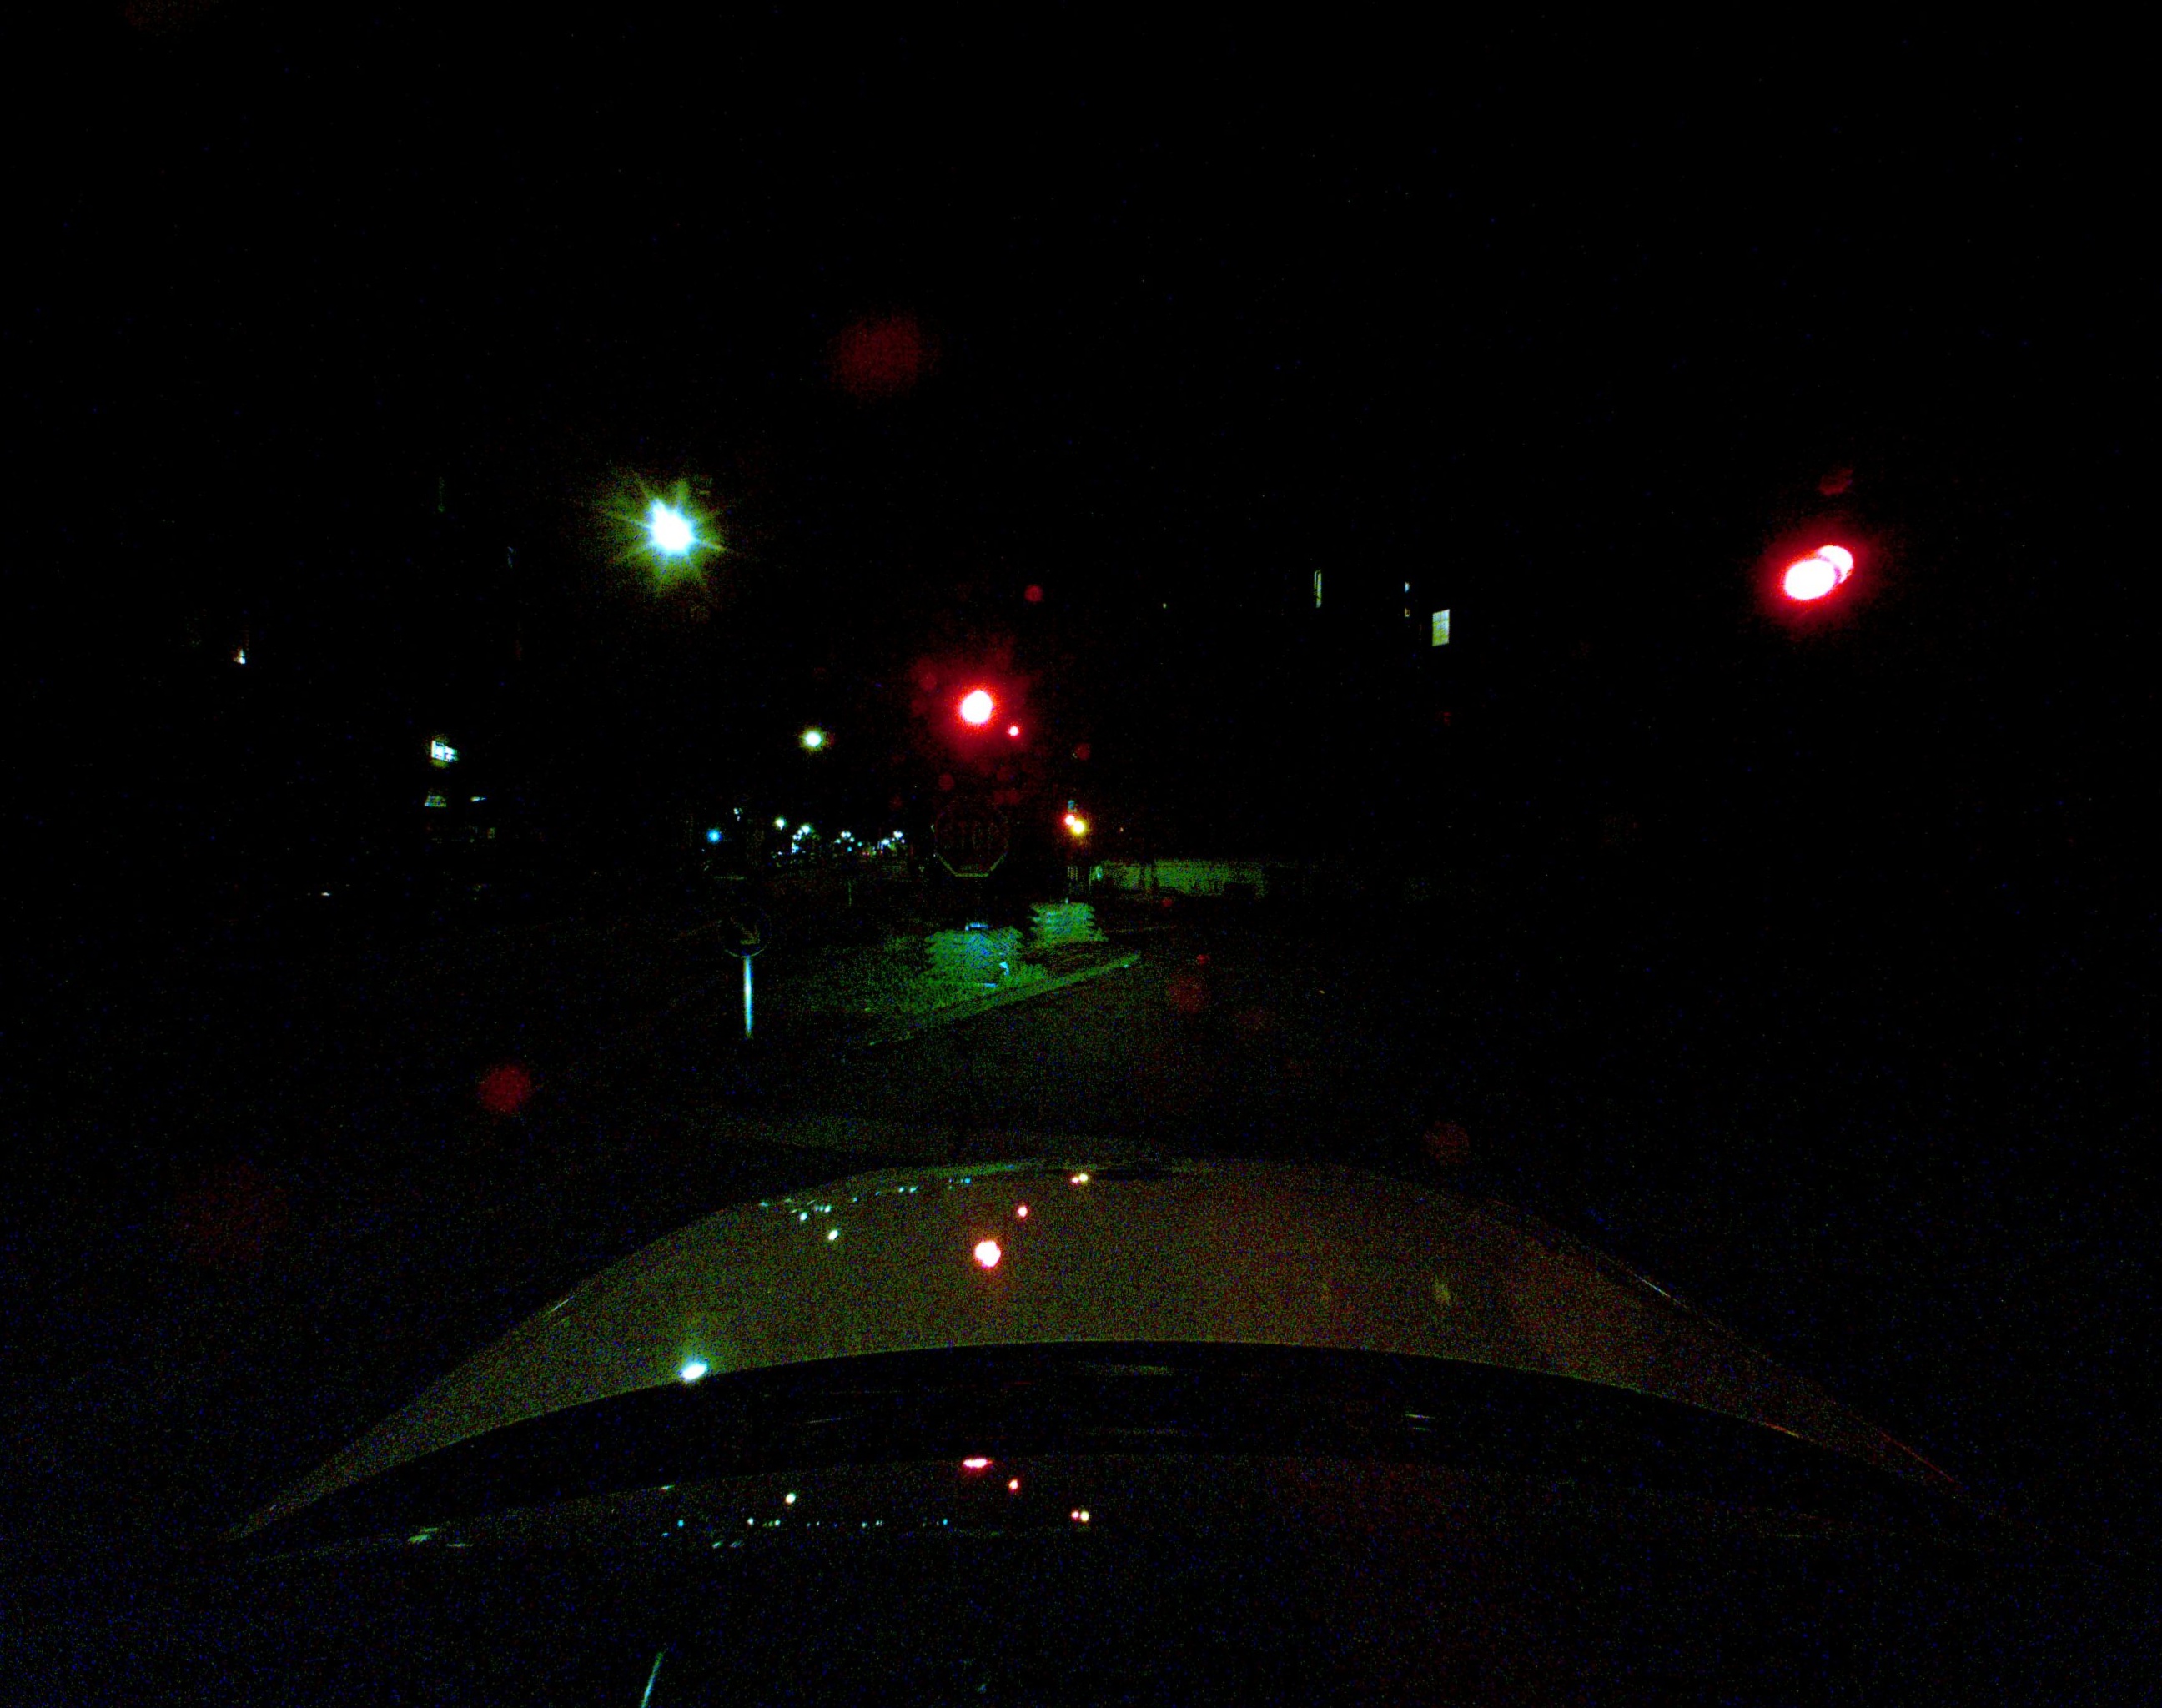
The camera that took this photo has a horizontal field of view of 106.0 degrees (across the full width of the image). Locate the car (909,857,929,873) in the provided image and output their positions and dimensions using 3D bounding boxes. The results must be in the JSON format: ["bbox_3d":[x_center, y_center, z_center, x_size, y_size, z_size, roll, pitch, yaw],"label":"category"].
[{"bbox_3d":[-14.436,0.976,72.582,1.652,1.431,3.984,1,0,-11],"label":"car"}]

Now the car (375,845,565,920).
[{"bbox_3d":[-13.538,0.593,18.404,1.806,1.481,4.303,1,-1,-13],"label":"car"}]

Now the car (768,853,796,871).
[{"bbox_3d":[-24.799,0.629,67.600,1.653,1.431,3.982,1,0,-13],"label":"car"}]

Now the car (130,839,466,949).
[{"bbox_3d":[-12.519,0.568,13.535,1.901,1.471,4.433,3,0,-12],"label":"car"}]

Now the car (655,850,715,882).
[{"bbox_3d":[-18.669,0.561,38.529,1.653,1.431,3.982,1,0,-13],"label":"car"}]

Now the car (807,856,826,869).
[{"bbox_3d":[-30.304,1.005,93.431,1.653,1.431,3.982,1,0,-13],"label":"car"}]

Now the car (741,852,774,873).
[{"bbox_3d":[-23.595,0.614,59.498,1.653,1.431,3.982,1,0,-13],"label":"car"}]

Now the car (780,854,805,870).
[{"bbox_3d":[-26.072,0.706,73.678,1.653,1.431,3.982,1,0,-13],"label":"car"}]
